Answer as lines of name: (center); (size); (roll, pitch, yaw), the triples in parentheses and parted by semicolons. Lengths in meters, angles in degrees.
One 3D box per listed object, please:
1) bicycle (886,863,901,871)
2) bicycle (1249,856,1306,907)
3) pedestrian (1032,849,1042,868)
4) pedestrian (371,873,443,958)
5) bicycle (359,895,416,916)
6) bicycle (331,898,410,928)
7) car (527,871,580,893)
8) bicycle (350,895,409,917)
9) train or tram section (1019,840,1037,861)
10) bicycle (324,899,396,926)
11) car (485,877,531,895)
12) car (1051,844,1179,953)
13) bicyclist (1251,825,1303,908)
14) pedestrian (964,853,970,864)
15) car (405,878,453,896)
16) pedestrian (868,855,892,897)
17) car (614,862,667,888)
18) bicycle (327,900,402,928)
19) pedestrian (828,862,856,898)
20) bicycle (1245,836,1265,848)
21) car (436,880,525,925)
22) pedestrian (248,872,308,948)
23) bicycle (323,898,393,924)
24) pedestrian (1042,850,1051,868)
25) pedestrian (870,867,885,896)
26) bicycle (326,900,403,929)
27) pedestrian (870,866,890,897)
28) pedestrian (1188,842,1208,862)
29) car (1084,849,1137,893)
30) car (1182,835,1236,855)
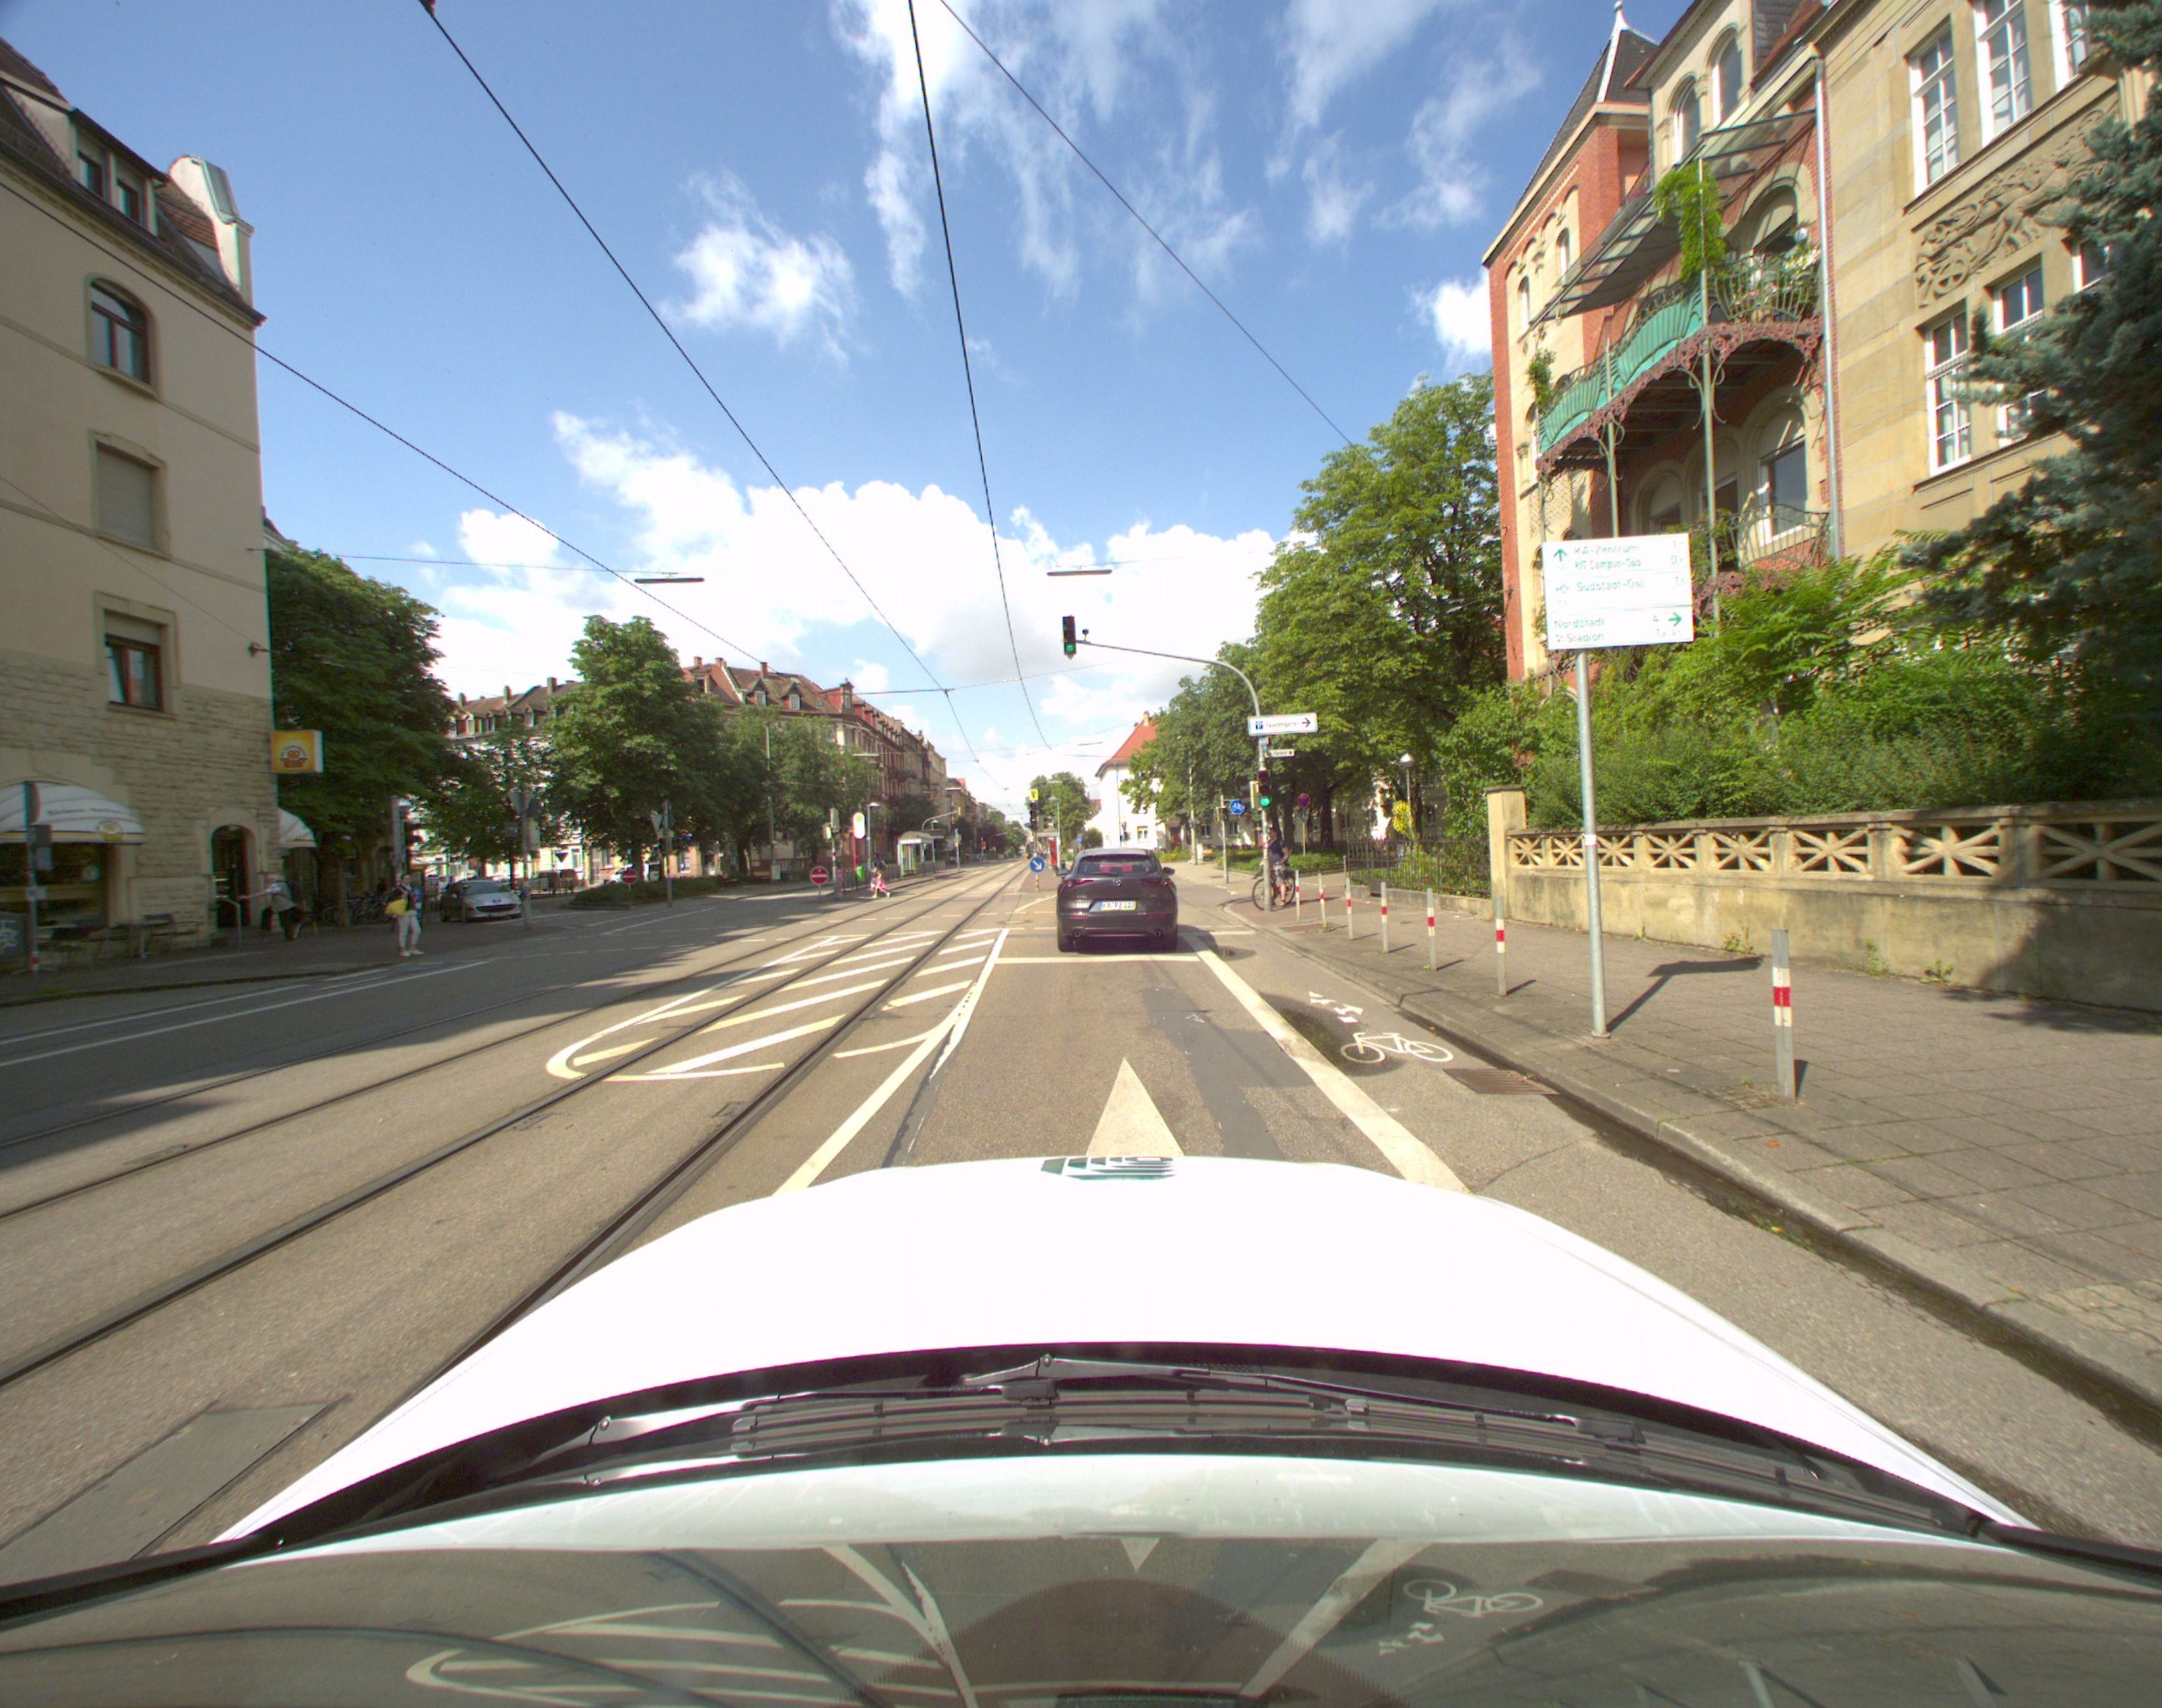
bicycle: (-19.937, 1.386, 86.451); (0.381, 0.747, 1.722); (-3, 0, 34)
bicycle: (4.519, 0.616, 18.650); (0.385, 1.035, 1.857); (-3, 1, 42)
pedestrian: (-3.894, 0.392, 72.189); (0.769, 1.674, 0.667); (-3, 0, -3)
pedestrian: (-14.167, 1.277, 17.141); (0.754, 1.704, 0.873); (1, 0, -3)
bicycle: (-33.896, 2.528, 39.810); (2.037, 0.898, 0.566); (-1, -1, -30)
bicycle: (-24.867, 2.053, 28.532); (0.516, 0.882, 2.043); (-3, -1, 44)
car: (-47.269, 2.511, 72.961); (3.895, 1.663, 1.926); (-3, 0, 20)
bicycle: (-33.254, 2.452, 38.628); (2.039, 0.898, 0.566); (-1, -1, -33)
train or tram section: (-10.980, -0.631, 169.374); (2.990, 3.983, 13.797); (-3, -1, -2)
bicycle: (-27.643, 2.239, 31.251); (0.505, 0.882, 2.043); (-3, -1, 44)
car: (-52.493, 2.942, 74.580); (3.652, 1.393, 1.501); (-3, 0, 18)
car: (0.546, 0.626, 13.428); (1.775, 1.514, 4.002); (-1, 0, 2)
bicyclist: (4.459, 0.282, 18.558); (0.736, 1.819, 0.814); (-3, 0, -25)
pedestrian: (-17.341, 0.683, 123.994); (0.785, 1.688, 0.732); (-3, 0, -1)
car: (-62.211, 3.130, 77.674); (3.875, 1.555, 1.726); (-3, 0, 19)
pedestrian: (-7.756, 0.838, 31.438); (0.727, 1.565, 0.797); (-3, 0, -7)
car: (-37.863, 1.815, 70.020); (3.901, 1.988, 1.866); (-2, 0, 21)
bicycle: (-26.665, 2.221, 30.340); (0.505, 0.882, 2.043); (-3, -1, 44)
pedestrian: (-9.381, 1.007, 31.959); (0.825, 1.303, 0.715); (-5, 0, -7)
bicycle: (16.403, -1.114, 76.775); (0.570, 1.020, 1.733); (-5, 2, -39)
car: (-21.695, 1.717, 29.379); (3.823, 1.420, 1.732); (-3, 0, 41)
pedestrian: (-18.823, 1.294, 19.106); (0.826, 1.672, 0.848); (-3, 0, -37)
bicycle: (-28.817, 2.248, 32.476); (0.539, 0.882, 2.043); (-3, -1, 44)
pedestrian: (-3.008, 0.445, 71.184); (0.666, 1.546, 0.580); (-3, 0, -3)
pedestrian: (-8.023, 1.086, 32.147); (0.437, 1.108, 0.422); (-5, 0, -7)
bicycle: (-25.860, 2.162, 29.419); (0.505, 0.882, 2.043); (-3, -1, 44)
pedestrian: (-7.627, 1.044, 30.865); (0.640, 1.114, 0.442); (-3, 0, -7)
pedestrian: (8.244, -0.148, 57.354); (1.191, 1.269, 0.556); (-5, 0, -7)
car: (0.998, 0.560, 29.403); (1.769, 1.464, 3.842); (-1, 0, 0)
car: (11.019, -0.768, 70.346); (4.118, 1.509, 1.864); (-2, 2, 40)
